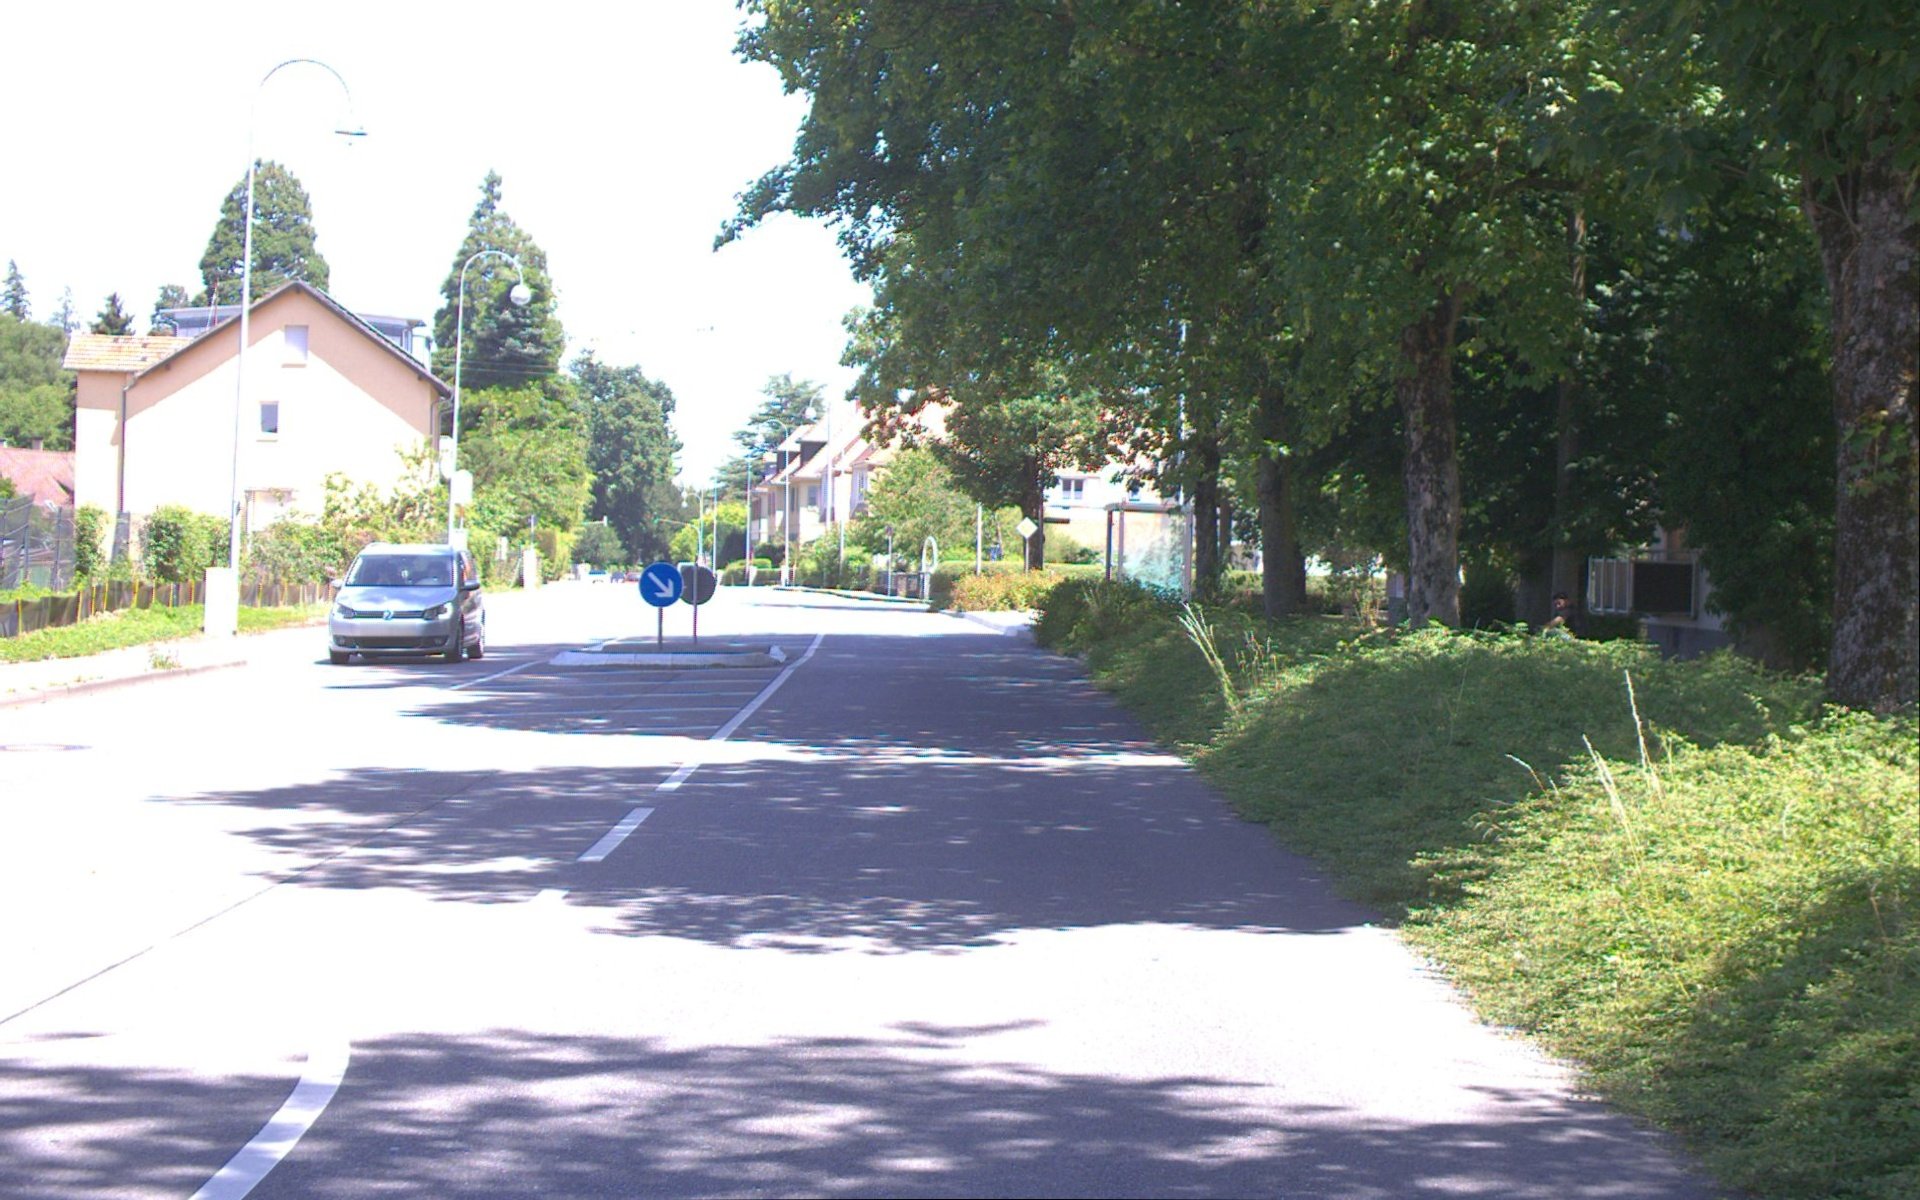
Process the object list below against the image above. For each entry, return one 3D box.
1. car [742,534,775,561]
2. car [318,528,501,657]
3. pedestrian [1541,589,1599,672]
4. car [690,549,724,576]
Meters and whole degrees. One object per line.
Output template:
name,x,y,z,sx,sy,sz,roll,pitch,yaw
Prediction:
car,-12.799,-3.325,218.460,1.815,1.712,4.000,1,1,0
car,-7.538,-0.132,47.409,1.912,1.683,4.125,1,1,-1
pedestrian,8.693,0.430,48.993,0.704,1.156,0.754,1,1,3
car,-16.077,-2.380,218.477,1.815,1.712,4.000,1,1,0
